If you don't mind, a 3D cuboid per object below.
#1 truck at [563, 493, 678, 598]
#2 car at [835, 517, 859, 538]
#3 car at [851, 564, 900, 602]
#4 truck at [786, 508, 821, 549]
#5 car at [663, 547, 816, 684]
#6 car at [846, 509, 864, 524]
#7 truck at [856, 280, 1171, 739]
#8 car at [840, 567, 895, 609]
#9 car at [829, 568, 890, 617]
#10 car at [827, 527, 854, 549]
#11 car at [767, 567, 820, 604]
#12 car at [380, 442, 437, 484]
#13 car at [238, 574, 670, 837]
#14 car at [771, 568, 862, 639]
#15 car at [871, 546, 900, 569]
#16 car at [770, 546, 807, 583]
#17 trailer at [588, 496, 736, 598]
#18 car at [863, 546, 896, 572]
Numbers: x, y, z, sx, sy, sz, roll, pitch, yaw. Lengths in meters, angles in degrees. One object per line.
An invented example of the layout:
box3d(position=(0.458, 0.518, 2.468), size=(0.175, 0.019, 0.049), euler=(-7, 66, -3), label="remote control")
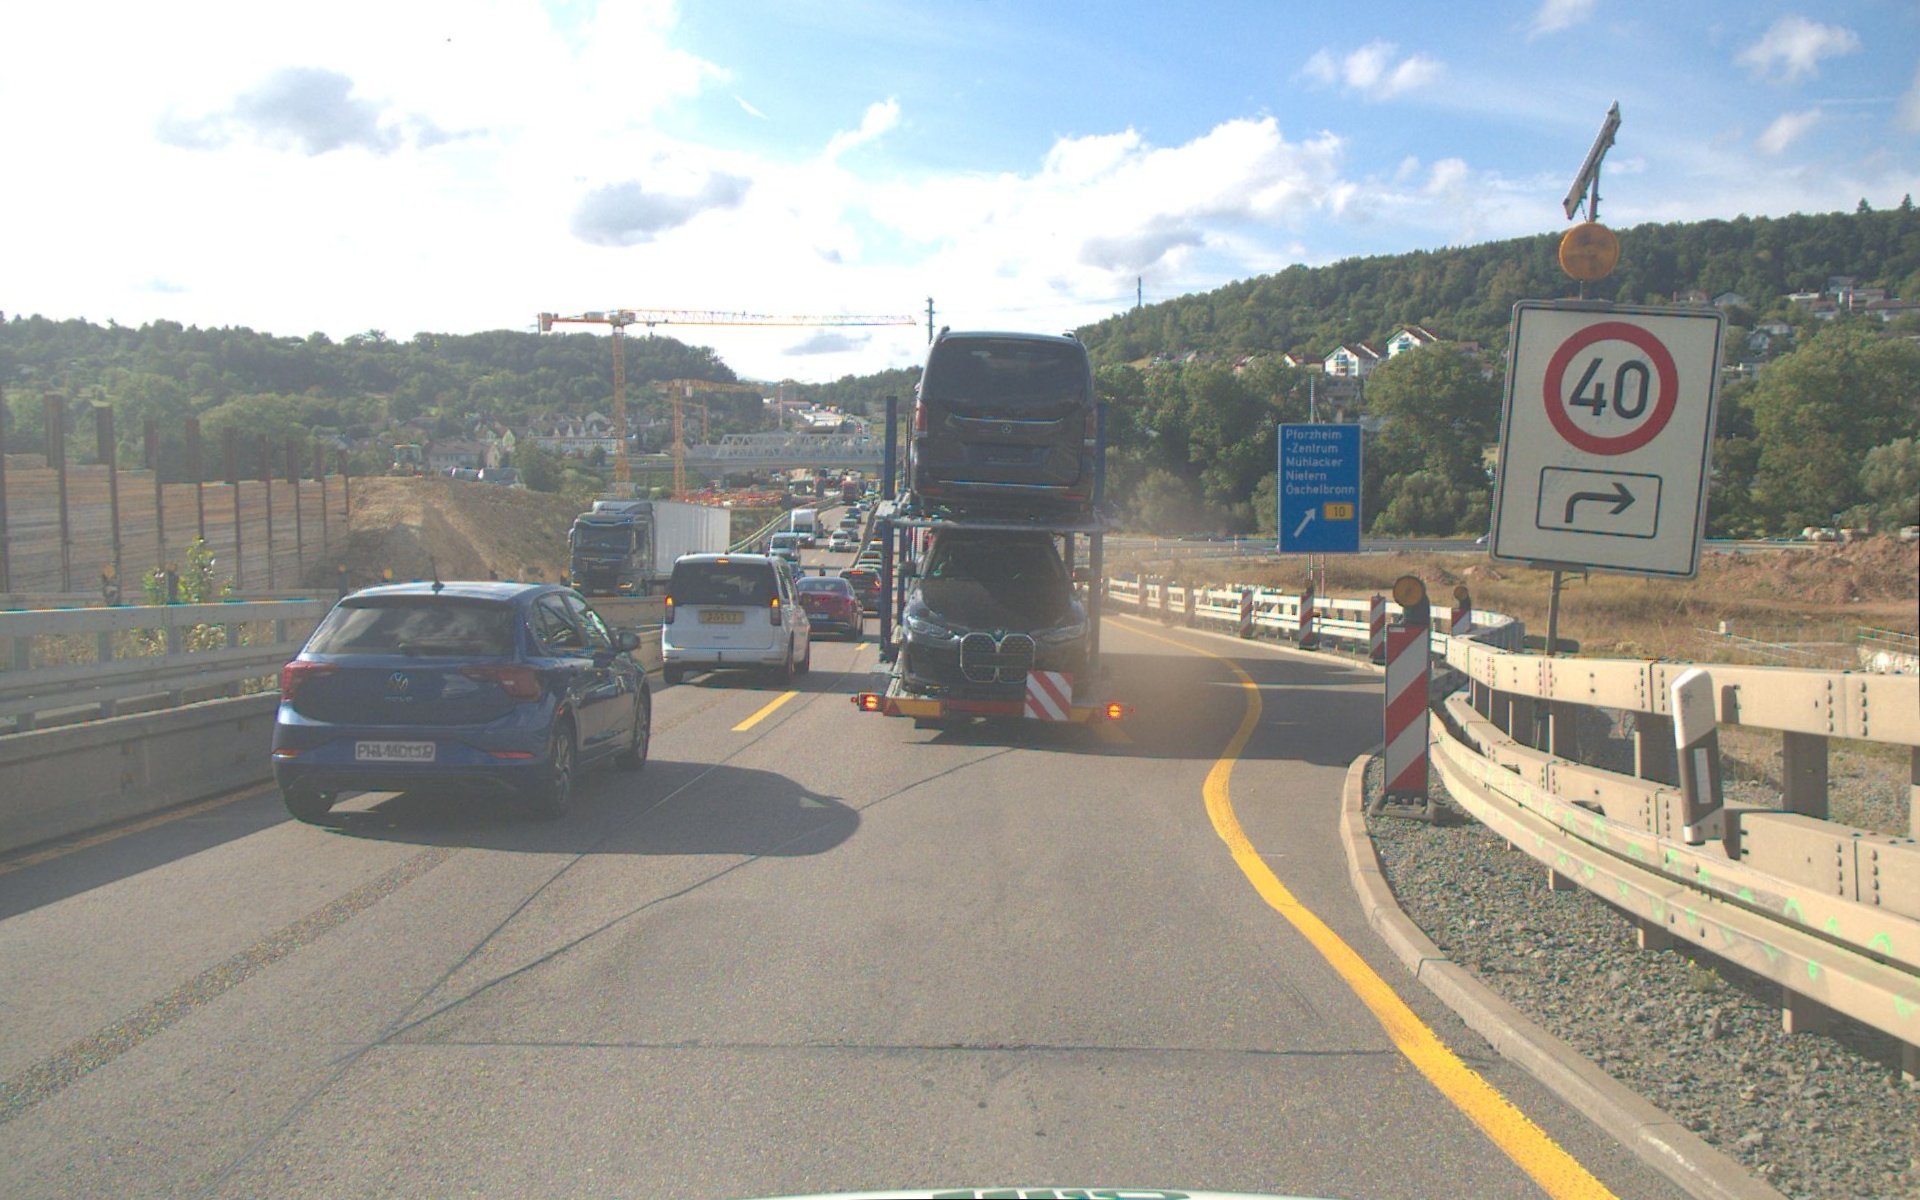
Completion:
box3d(position=(-13.052, -2.023, 64.083), size=(2.718, 3.854, 6.021), euler=(1, 0, 4), label="truck")
box3d(position=(-11.088, -7.151, 162.684), size=(2.082, 1.795, 5.032), euler=(2, 4, -1), label="car")
box3d(position=(-3.676, -0.725, 72.523), size=(1.953, 1.579, 4.000), euler=(1, 0, 0), label="car")
box3d(position=(-14.200, -6.486, 150.543), size=(2.646, 3.369, 7.535), euler=(1, 0, -2), label="truck")
box3d(position=(-3.165, 0.203, 24.448), size=(1.786, 1.823, 3.999), euler=(1, 0, -2), label="car")
box3d(position=(-12.485, -9.918, 196.894), size=(1.815, 1.663, 4.749), euler=(2, 3, -1), label="car")
box3d(position=(0.480, -0.842, 24.301), size=(2.697, 4.023, 18.888), euler=(2, 0, 0), label="truck")
box3d(position=(-3.615, -0.476, 65.473), size=(1.953, 1.579, 4.000), euler=(1, 0, 0), label="car")
box3d(position=(-3.482, -0.256, 56.804), size=(1.955, 1.579, 3.996), euler=(1, 0, -5), label="car")
box3d(position=(-10.369, -5.407, 143.742), size=(2.082, 1.702, 4.274), euler=(2, 4, -1), label="car")
box3d(position=(-8.196, -0.689, 81.567), size=(1.952, 1.757, 4.124), euler=(1, 0, 3), label="car")
box3d(position=(-35.571, -8.826, 106.812), size=(1.954, 2.177, 5.319), euler=(-4, 0, -2), label="car")
box3d(position=(-3.191, 0.568, 11.290), size=(1.686, 1.446, 4.000), euler=(1, 1, 0), label="car")
box3d(position=(-3.413, 0.065, 40.075), size=(1.953, 1.583, 4.399), euler=(1, 0, -2), label="car")
box3d(position=(-5.428, -3.122, 121.333), size=(1.953, 1.579, 4.000), euler=(1, 0, 0), label="car")
box3d(position=(-12.157, -2.486, 117.452), size=(2.213, 2.444, 5.864), euler=(1, 0, -2), label="car")
box3d(position=(-12.471, -2.070, 70.978), size=(2.761, 3.908, 13.811), euler=(1, 0, 5), label="trailer")
box3d(position=(-5.160, -2.636, 106.533), size=(1.953, 1.579, 4.000), euler=(1, 0, 0), label="car")
